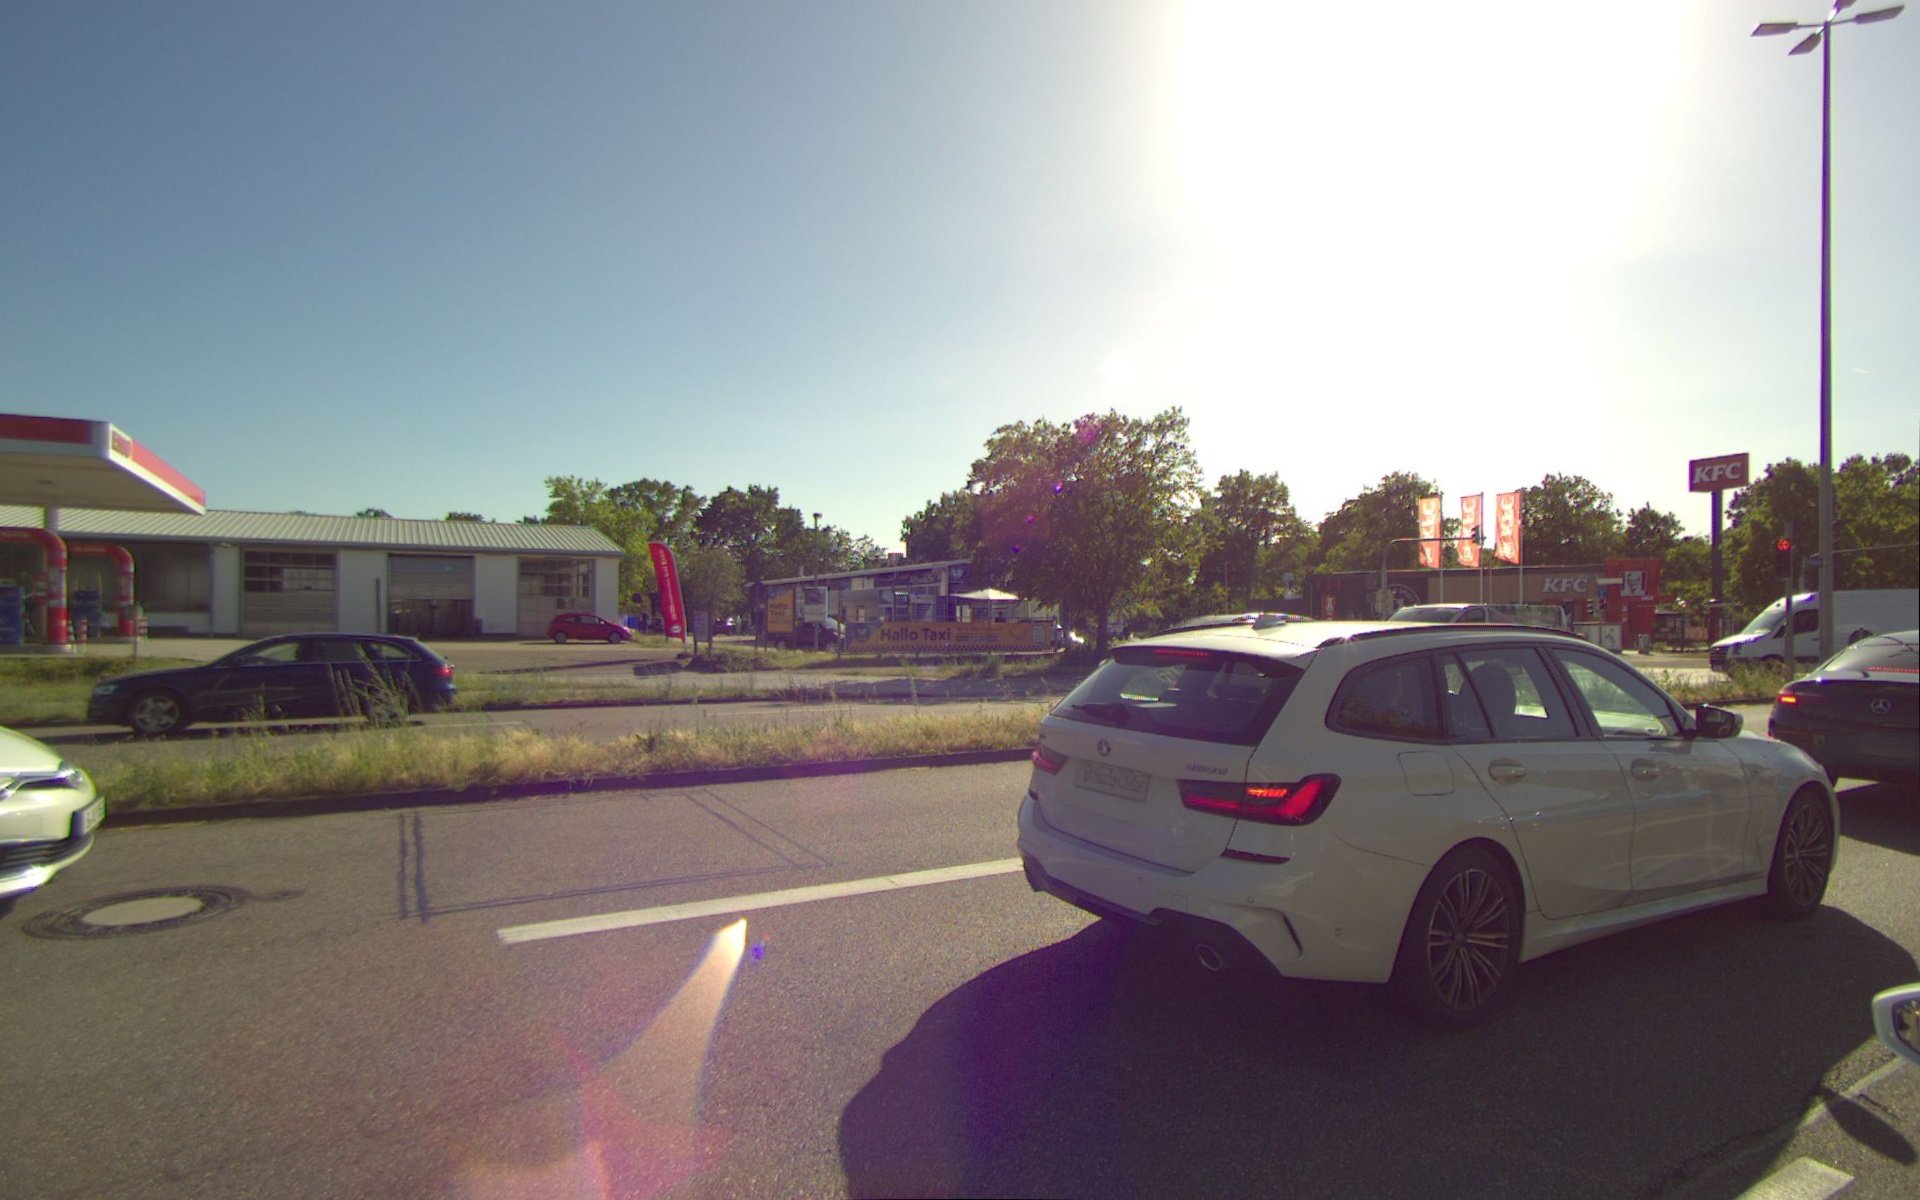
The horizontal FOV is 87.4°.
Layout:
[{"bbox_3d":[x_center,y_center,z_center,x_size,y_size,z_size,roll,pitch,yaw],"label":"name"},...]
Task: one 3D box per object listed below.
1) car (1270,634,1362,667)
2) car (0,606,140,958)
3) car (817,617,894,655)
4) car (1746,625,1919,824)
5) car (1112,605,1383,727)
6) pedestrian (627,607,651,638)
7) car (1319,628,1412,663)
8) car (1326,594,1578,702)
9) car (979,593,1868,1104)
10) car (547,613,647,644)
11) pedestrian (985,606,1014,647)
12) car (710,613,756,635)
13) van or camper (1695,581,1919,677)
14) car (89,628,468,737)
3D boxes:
[{"bbox_3d":[17.024,2.393,48.165,1.801,1.448,4.022,1,-1,-27],"label":"car"},{"bbox_3d":[-6.111,0.724,3.855,4.355,1.448,1.847,1,-1,-32],"label":"car"},{"bbox_3d":[-3.880,1.309,36.959,1.625,1.301,3.122,1,-1,-32],"label":"car"},{"bbox_3d":[8.802,0.956,8.625,4.409,1.433,1.760,1,-1,-30],"label":"car"},{"bbox_3d":[4.701,1.023,16.194,4.393,1.712,1.867,1,-4,-36],"label":"car"},{"bbox_3d":[-18.534,1.303,58.044,1.087,1.787,1.150,1,-1,-30],"label":"pedestrian"},{"bbox_3d":[20.070,2.213,49.855,1.804,1.616,4.016,1,-1,-31],"label":"car"},{"bbox_3d":[10.274,0.999,20.967,4.957,2.040,1.989,1,-3,-24],"label":"car"},{"bbox_3d":[2.424,0.789,4.904,4.409,1.529,1.760,1,-1,-30],"label":"car"},{"bbox_3d":[-17.923,1.402,49.598,4.486,1.458,1.741,1,-1,-26],"label":"car"},{"bbox_3d":[1.805,1.213,45.854,0.916,1.840,1.013,1,-1,-34],"label":"pedestrian"},{"bbox_3d":[-19.928,2.106,88.258,2.085,1.840,4.000,0,-1,20],"label":"car"},{"bbox_3d":[25.443,0.809,29.547,5.836,2.686,2.001,0,-1,15],"label":"van or camper"},{"bbox_3d":[-10.220,1.200,15.493,4.556,1.464,1.894,1,-3,-32],"label":"car"}]
